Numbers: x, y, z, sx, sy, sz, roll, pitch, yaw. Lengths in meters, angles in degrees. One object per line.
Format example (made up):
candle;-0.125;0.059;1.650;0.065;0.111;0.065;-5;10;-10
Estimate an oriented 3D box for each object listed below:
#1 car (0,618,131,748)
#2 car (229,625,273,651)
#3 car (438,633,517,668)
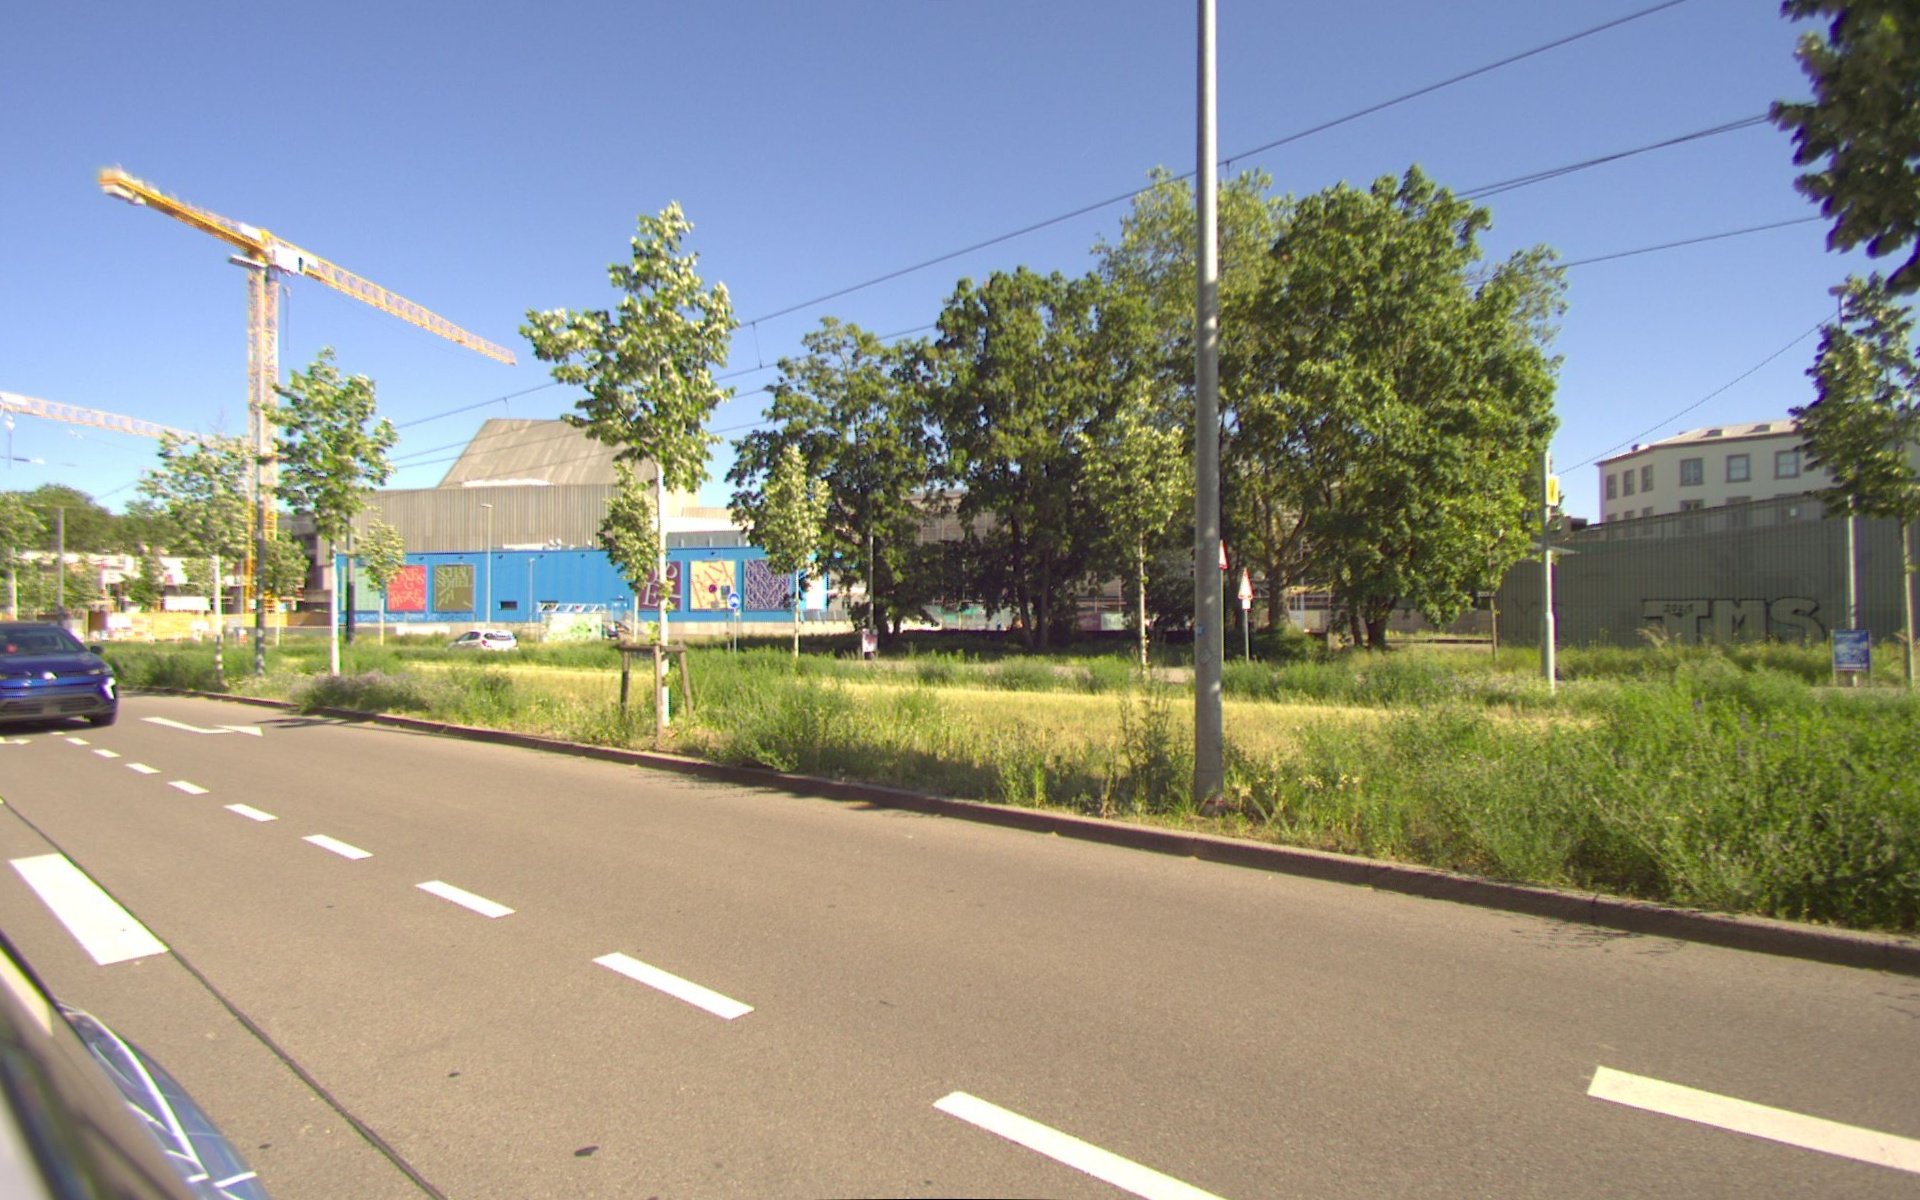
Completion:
car;-14.104;1.164;14.882;4.140;1.634;1.731;-2;1;33
car;-53.156;2.810;75.838;3.998;1.811;1.779;-1;1;42
car;-20.650;2.133;43.268;3.829;1.409;1.616;-2;-2;40
